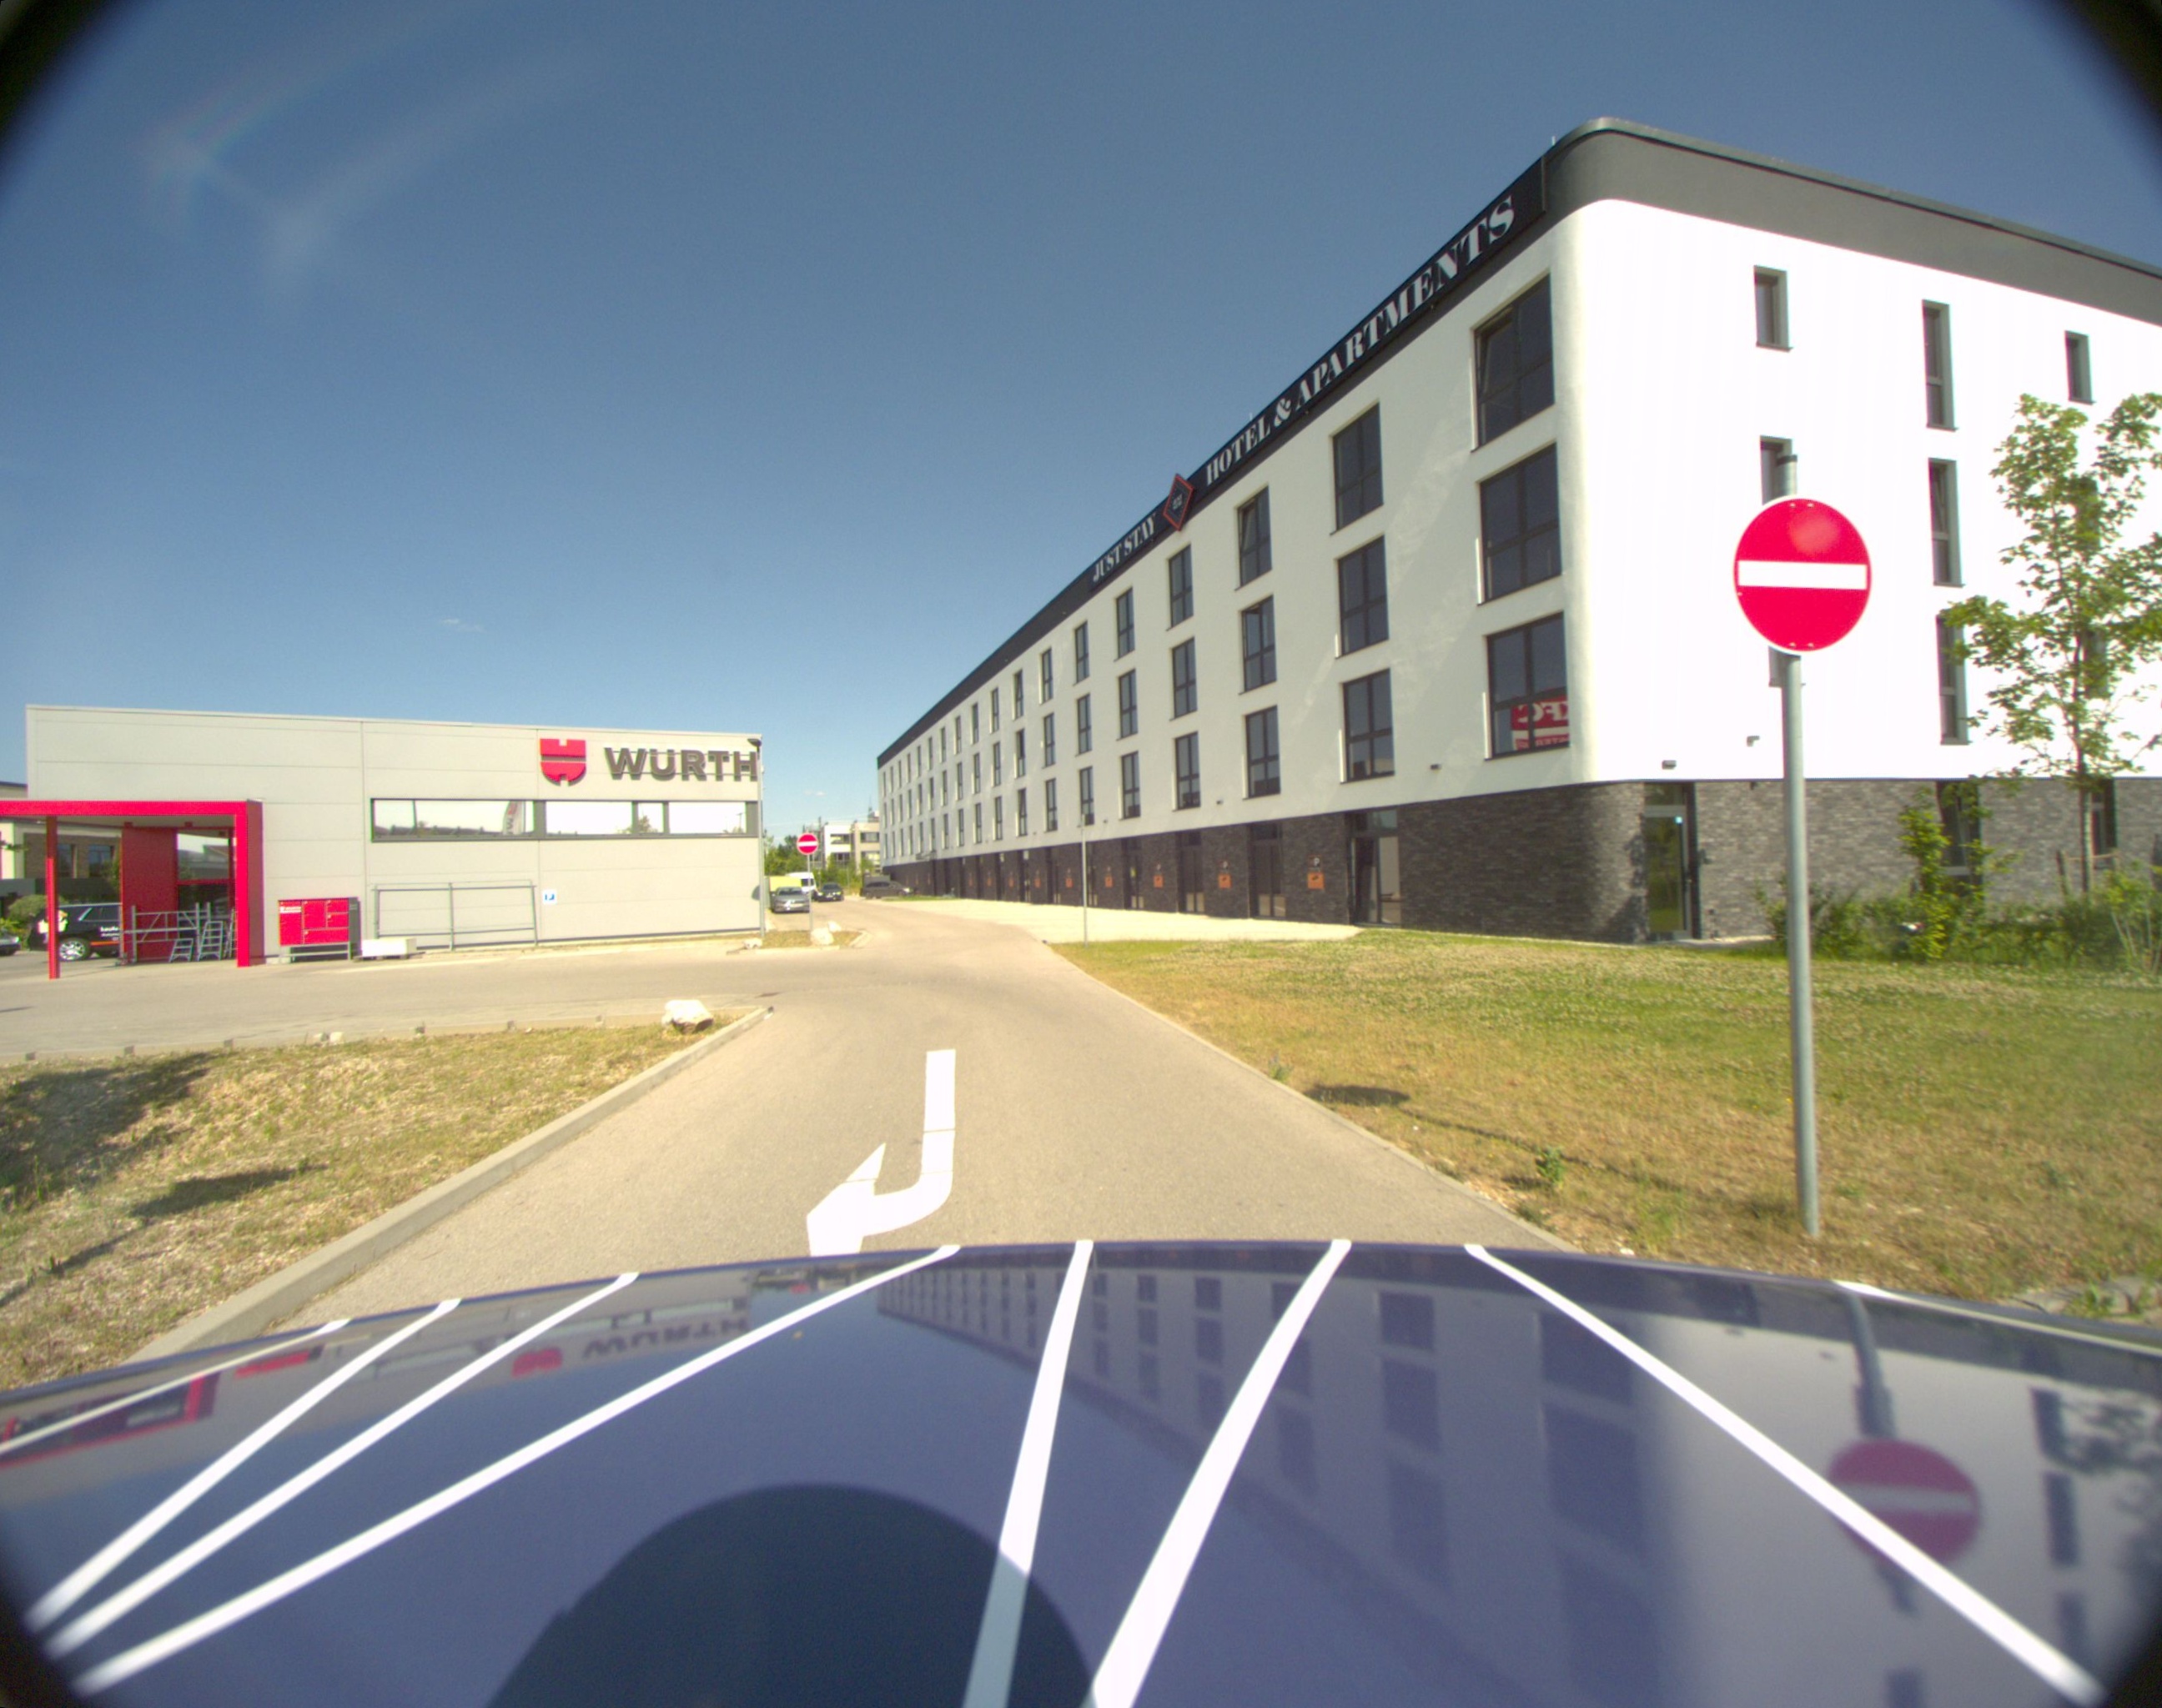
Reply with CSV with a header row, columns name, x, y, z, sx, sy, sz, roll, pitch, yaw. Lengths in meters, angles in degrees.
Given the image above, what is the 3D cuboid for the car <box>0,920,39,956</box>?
name,x,y,z,sx,sy,sz,roll,pitch,yaw
car,-47.455,3.661,31.958,3.917,1.465,1.801,-2,-1,-20

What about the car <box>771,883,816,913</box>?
name,x,y,z,sx,sy,sz,roll,pitch,yaw
car,-16.028,2.382,42.244,1.882,1.499,3.992,-2,-1,-26

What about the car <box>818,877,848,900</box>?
name,x,y,z,sx,sy,sz,roll,pitch,yaw
car,-19.602,2.694,60.173,1.719,1.608,3.996,-2,0,-10

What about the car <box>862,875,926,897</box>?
name,x,y,z,sx,sy,sz,roll,pitch,yaw
car,-14.872,2.553,60.595,4.518,1.499,1.881,-3,-1,12

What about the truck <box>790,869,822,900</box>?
name,x,y,z,sx,sy,sz,roll,pitch,yaw
truck,-23.162,2.558,63.924,2.002,2.362,5.880,-2,-1,-24

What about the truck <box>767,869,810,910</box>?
name,x,y,z,sx,sy,sz,roll,pitch,yaw
truck,-18.675,2.211,48.364,2.126,2.362,5.880,-2,-1,-24
